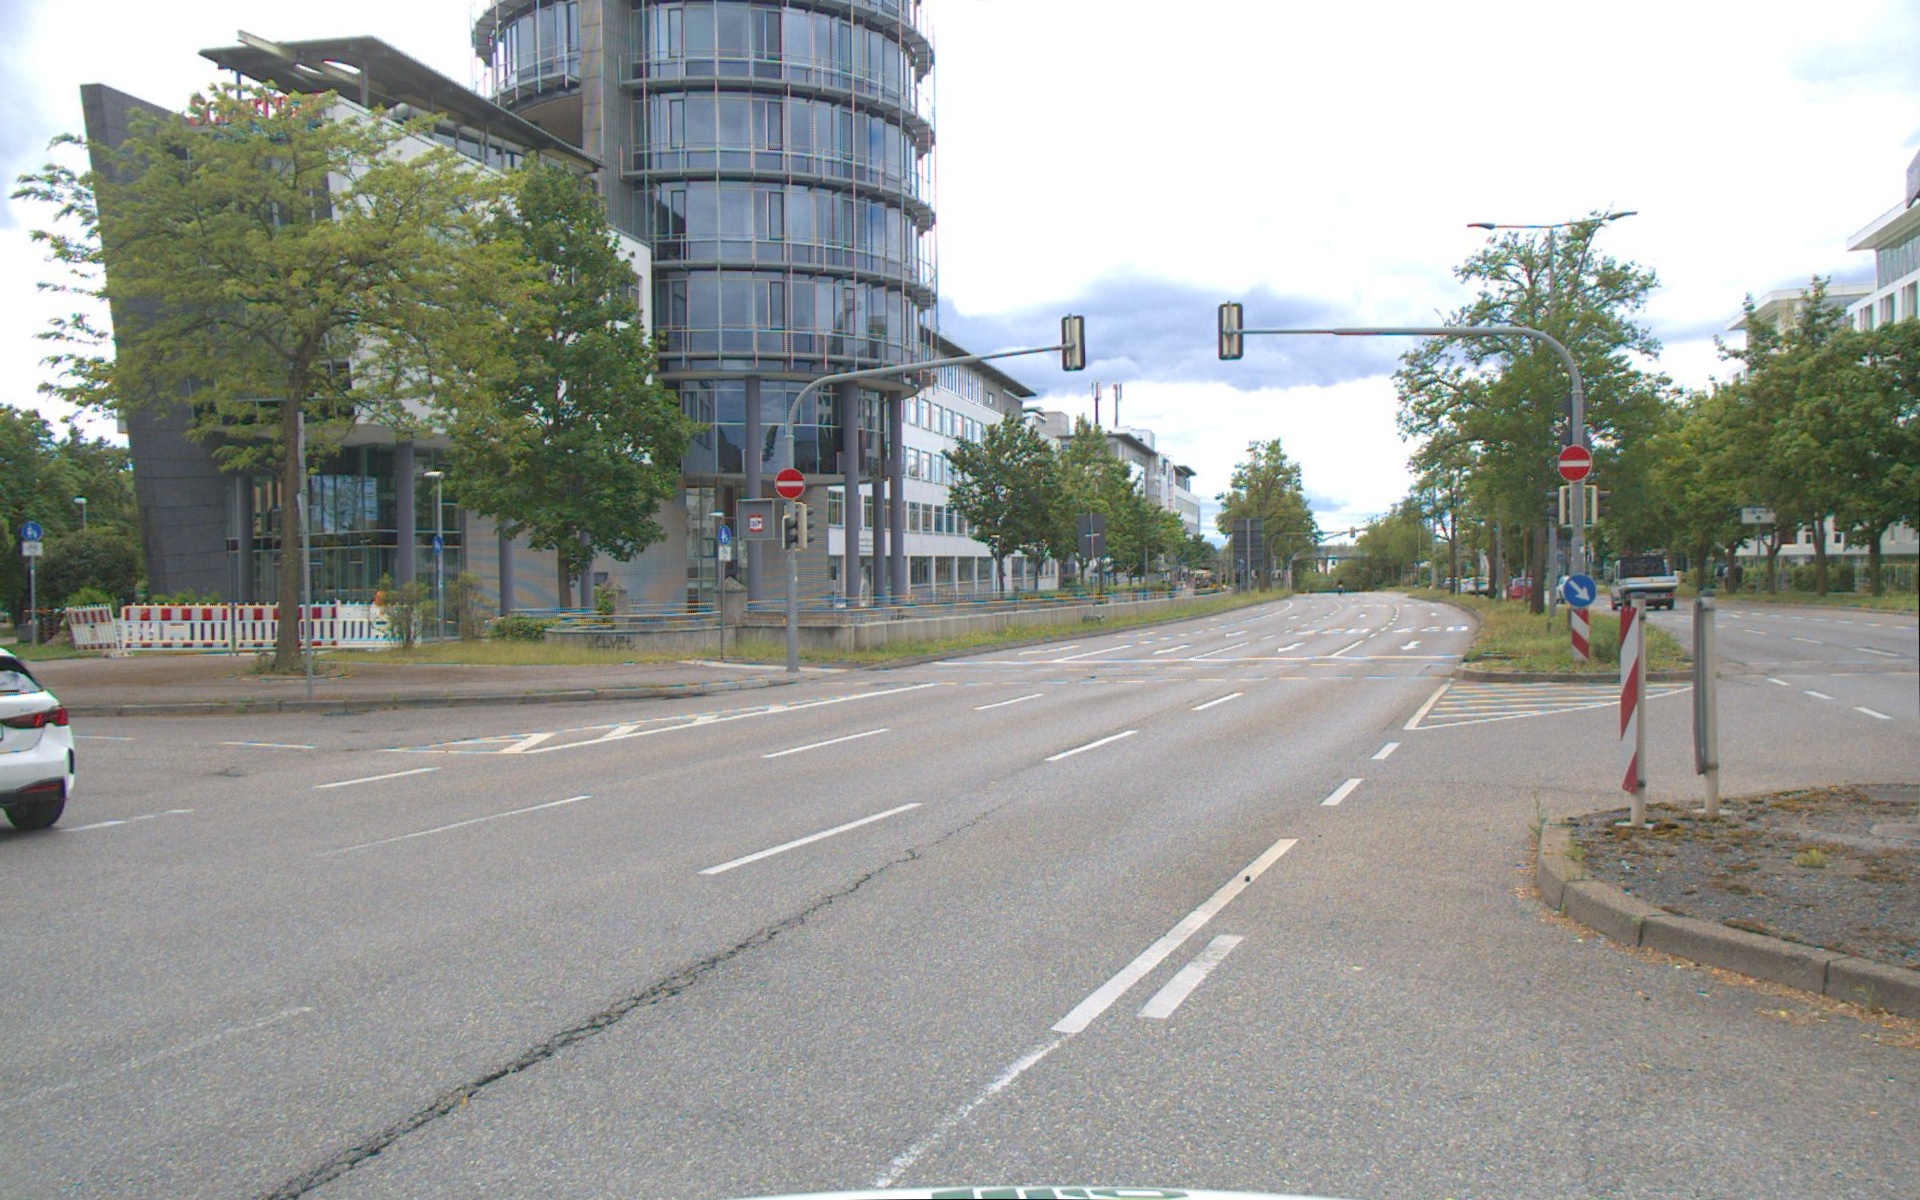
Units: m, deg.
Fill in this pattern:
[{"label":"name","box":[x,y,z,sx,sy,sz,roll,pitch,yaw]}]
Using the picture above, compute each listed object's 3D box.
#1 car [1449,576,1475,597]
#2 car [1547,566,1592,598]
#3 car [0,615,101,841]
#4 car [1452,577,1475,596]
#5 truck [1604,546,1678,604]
[{"label":"car","box":[41.412,-1.122,136.496,1.951,1.680,4.002,1,0,17]},{"label":"car","box":[34.817,-1.021,94.538,1.830,1.703,3.889,1,0,11]},{"label":"car","box":[-8.441,0.970,12.542,4.124,1.544,1.794,-2,0,37]},{"label":"car","box":[45.557,-1.232,149.790,1.951,1.680,4.002,1,0,17]},{"label":"truck","box":[29.456,-1.052,71.657,2.501,2.418,4.591,1,0,17]}]
